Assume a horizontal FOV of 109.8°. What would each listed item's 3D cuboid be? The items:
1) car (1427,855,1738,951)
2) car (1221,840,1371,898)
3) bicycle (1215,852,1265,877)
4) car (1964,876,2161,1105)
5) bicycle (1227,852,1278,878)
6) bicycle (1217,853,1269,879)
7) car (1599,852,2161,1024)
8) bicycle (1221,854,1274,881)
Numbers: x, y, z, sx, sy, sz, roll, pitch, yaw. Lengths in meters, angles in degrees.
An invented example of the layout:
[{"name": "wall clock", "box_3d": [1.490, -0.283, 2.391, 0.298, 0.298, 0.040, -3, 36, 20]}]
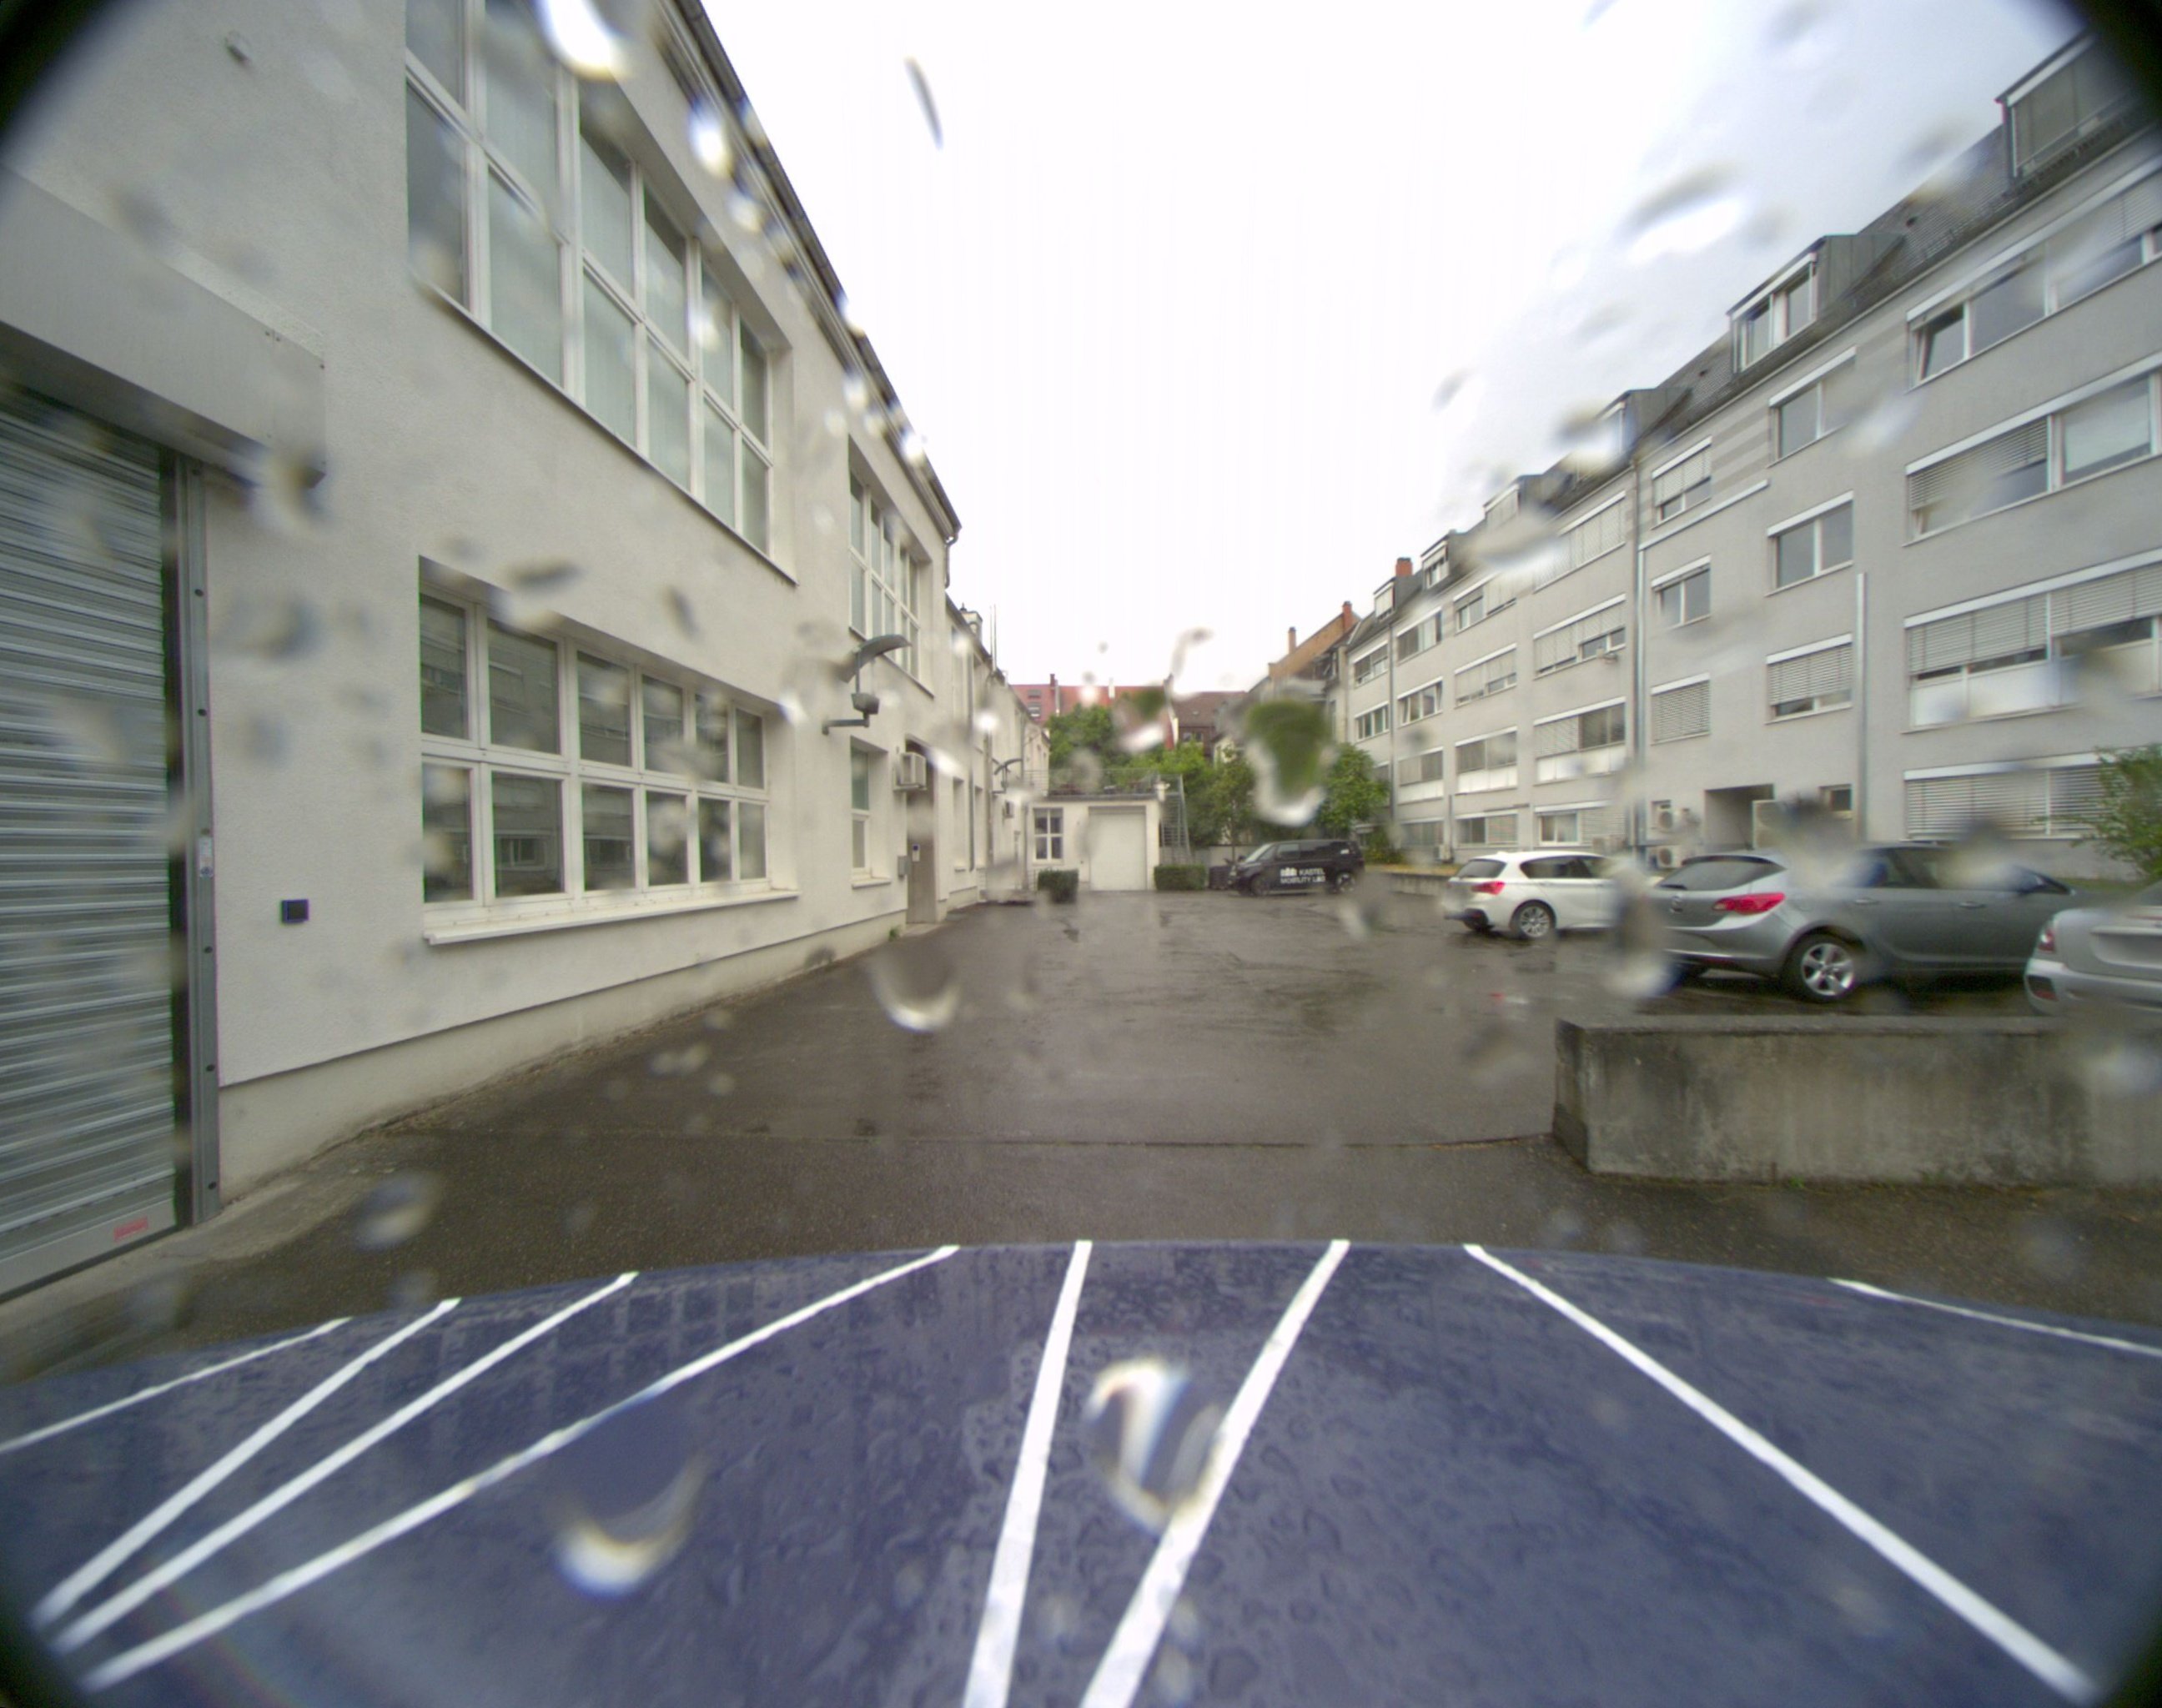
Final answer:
[{"name": "car", "box_3d": [8.335, 0.767, 12.894, 4.150, 1.425, 1.753, -1, 1, -1]}, {"name": "car", "box_3d": [7.459, 0.520, 26.685, 4.629, 1.826, 1.988, -1, -1, -4]}, {"name": "bicycle", "box_3d": [7.787, 0.518, 37.206, 2.318, 1.180, 0.643, -1, 3, 4]}, {"name": "car", "box_3d": [8.793, 0.785, 4.833, 4.176, 1.325, 1.822, -3, 0, 0]}, {"name": "bicycle", "box_3d": [8.270, 0.532, 36.671, 2.318, 1.180, 0.643, -1, 3, 4]}, {"name": "bicycle", "box_3d": [7.678, 0.573, 36.043, 2.318, 1.180, 0.643, -1, 3, 4]}, {"name": "car", "box_3d": [8.003, 0.761, 7.770, 4.176, 1.475, 1.822, -1, 0, -1]}, {"name": "bicycle", "box_3d": [7.709, 0.609, 35.242, 2.318, 1.180, 0.643, -1, 3, 4]}]
